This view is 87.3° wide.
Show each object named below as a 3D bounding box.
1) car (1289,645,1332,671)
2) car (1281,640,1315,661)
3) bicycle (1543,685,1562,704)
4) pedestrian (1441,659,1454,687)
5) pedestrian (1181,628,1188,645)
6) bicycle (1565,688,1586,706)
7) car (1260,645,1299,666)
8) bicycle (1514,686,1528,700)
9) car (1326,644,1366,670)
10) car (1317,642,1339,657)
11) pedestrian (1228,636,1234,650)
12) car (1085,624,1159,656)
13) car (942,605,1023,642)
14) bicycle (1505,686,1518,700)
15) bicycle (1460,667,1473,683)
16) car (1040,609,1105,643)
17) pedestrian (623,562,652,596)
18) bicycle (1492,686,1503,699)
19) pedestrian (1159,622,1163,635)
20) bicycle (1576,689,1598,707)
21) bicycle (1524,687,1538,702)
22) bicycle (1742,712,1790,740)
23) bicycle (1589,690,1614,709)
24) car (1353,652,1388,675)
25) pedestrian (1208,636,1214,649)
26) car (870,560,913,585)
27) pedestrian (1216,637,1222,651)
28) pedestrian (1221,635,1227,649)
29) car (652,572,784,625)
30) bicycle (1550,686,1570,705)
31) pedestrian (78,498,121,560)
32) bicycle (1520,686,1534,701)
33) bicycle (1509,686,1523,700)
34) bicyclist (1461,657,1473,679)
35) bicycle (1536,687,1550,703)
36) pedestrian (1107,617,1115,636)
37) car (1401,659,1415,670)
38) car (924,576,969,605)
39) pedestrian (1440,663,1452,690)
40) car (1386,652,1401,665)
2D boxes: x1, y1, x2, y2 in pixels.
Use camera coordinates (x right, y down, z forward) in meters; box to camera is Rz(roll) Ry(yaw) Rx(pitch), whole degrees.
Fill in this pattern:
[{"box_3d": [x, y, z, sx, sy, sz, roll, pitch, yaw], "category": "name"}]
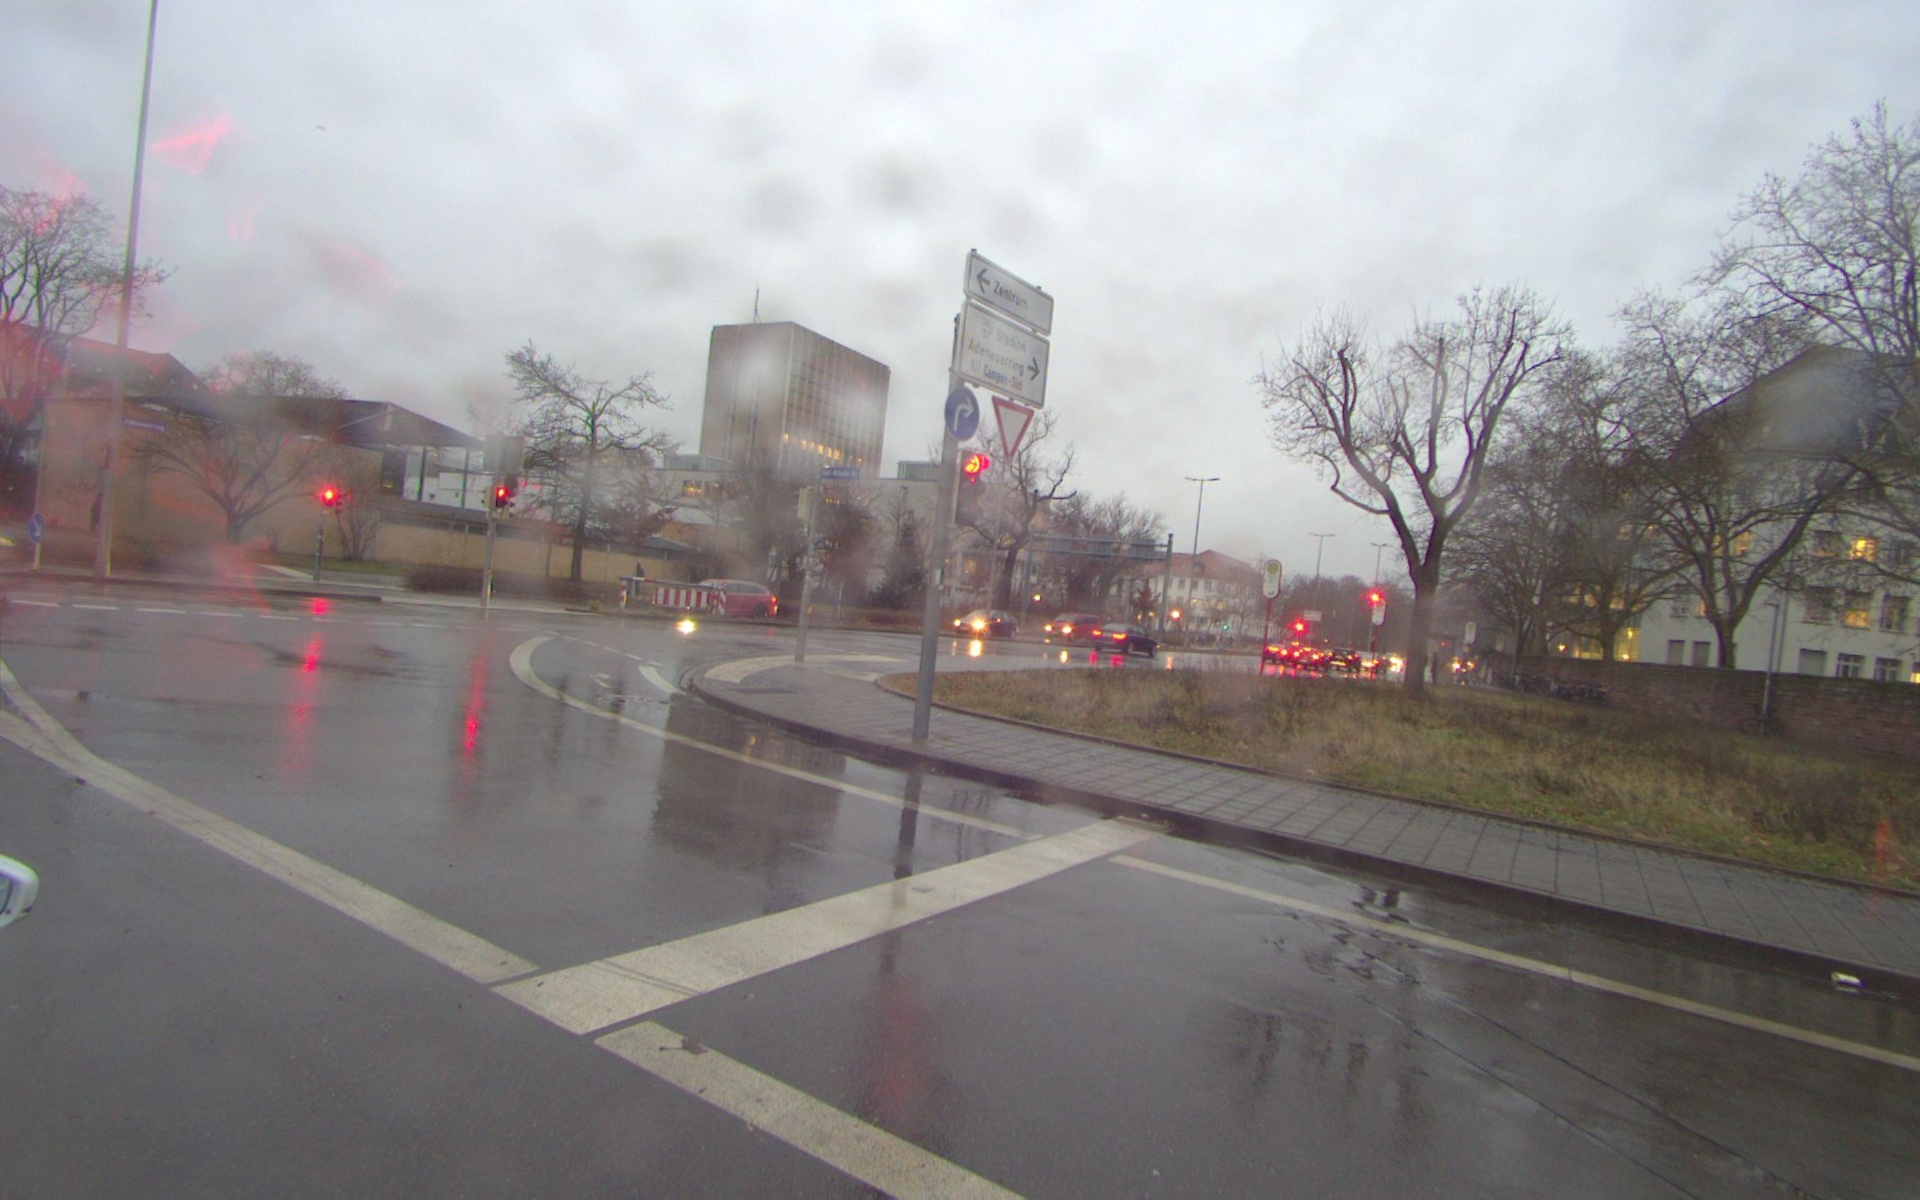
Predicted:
[{"box_3d": [24.625, 4.102, 70.532, 1.811, 1.602, 4.126, 6, 0, 33], "category": "car"}, {"box_3d": [29.655, 4.414, 88.148, 1.811, 1.602, 4.127, 6, 0, 31], "category": "car"}, {"box_3d": [31.841, 5.077, 54.085, 0.387, 0.927, 1.532, 7, -2, 15], "category": "bicycle"}, {"box_3d": [37.165, 5.572, 76.713, 0.557, 2.040, 0.595, 8, 2, 33], "category": "pedestrian"}, {"box_3d": [22.671, 3.685, 101.637, 0.411, 1.725, 0.430, 8, 3, 44], "category": "pedestrian"}, {"box_3d": [31.038, 4.878, 50.742, 0.343, 0.848, 1.493, 7, -2, 13], "category": "bicycle"}, {"box_3d": [23.367, 4.060, 73.509, 1.674, 1.318, 3.755, 6, 0, 34], "category": "car"}, {"box_3d": [33.829, 5.617, 60.661, 0.387, 0.795, 1.532, 7, -2, 20], "category": "bicycle"}, {"box_3d": [29.703, 4.425, 77.384, 1.812, 1.710, 4.311, 6, -1, 34], "category": "car"}, {"box_3d": [49.041, 6.573, 134.002, 1.966, 1.783, 3.992, 7, 1, 29], "category": "car"}, {"box_3d": [33.618, 5.306, 124.690, 0.404, 1.713, 0.427, 7, 2, 28], "category": "pedestrian"}, {"box_3d": [8.279, 2.041, 51.133, 1.908, 1.318, 4.686, 6, 0, 33], "category": "car"}, {"box_3d": [1.185, 1.199, 50.677, 1.784, 1.496, 4.411, 6, 0, 36], "category": "car"}, {"box_3d": [34.850, 5.869, 63.624, 0.387, 0.795, 1.532, 7, -2, 20], "category": "bicycle"}, {"box_3d": [40.000, 5.895, 79.462, 0.599, 1.181, 1.682, 7, -2, 19], "category": "bicycle"}, {"box_3d": [7.707, 1.778, 68.483, 2.016, 1.903, 5.320, 6, 0, 35], "category": "car"}, {"box_3d": [-16.423, -1.067, 51.252, 0.781, 1.624, 0.962, 8, 2, 32], "category": "pedestrian"}, {"box_3d": [36.390, 6.250, 68.105, 0.387, 0.795, 1.532, 7, -2, 20], "category": "bicycle"}, {"box_3d": [21.315, 3.036, 106.703, 0.258, 1.364, 0.289, 8, 2, 31], "category": "pedestrian"}, {"box_3d": [30.548, 4.771, 48.998, 0.387, 0.795, 1.533, 7, -2, 14], "category": "bicycle"}, {"box_3d": [32.840, 5.407, 57.864, 0.387, 0.795, 1.532, 7, -2, 19], "category": "bicycle"}, {"box_3d": [28.202, 4.402, 35.223, 0.387, 0.834, 1.386, 7, -2, -4], "category": "bicycle"}, {"box_3d": [30.274, 4.675, 47.474, 0.352, 0.795, 1.415, 7, -2, 8], "category": "bicycle"}, {"box_3d": [34.286, 5.295, 84.014, 1.811, 1.710, 4.311, 6, 0, 32], "category": "car"}, {"box_3d": [31.930, 5.395, 127.848, 0.404, 1.713, 0.427, 7, 2, 28], "category": "pedestrian"}, {"box_3d": [-7.191, -2.921, 106.304, 2.014, 2.102, 4.892, 6, 0, 30], "category": "car"}, {"box_3d": [32.312, 5.491, 125.635, 0.404, 1.713, 0.427, 7, 2, 28], "category": "pedestrian"}, {"box_3d": [32.969, 5.255, 125.665, 0.404, 1.713, 0.561, 7, 2, 28], "category": "pedestrian"}, {"box_3d": [-8.652, -0.030, 36.290, 1.784, 1.496, 4.411, 6, 0, 37], "category": "car"}, {"box_3d": [31.356, 4.982, 52.554, 0.387, 0.868, 1.532, 7, -2, 15], "category": "bicycle"}, {"box_3d": [-31.853, -2.635, 37.239, 0.882, 2.141, 0.882, 8, 2, 35], "category": "pedestrian"}, {"box_3d": [33.323, 5.490, 59.143, 0.387, 0.795, 1.532, 7, -2, 20], "category": "bicycle"}, {"box_3d": [34.349, 5.744, 62.150, 0.387, 0.795, 1.532, 7, -2, 20], "category": "bicycle"}, {"box_3d": [40.072, 5.367, 79.476, 0.599, 1.660, 0.453, 7, -1, 19], "category": "bicyclist"}, {"box_3d": [32.412, 5.293, 55.951, 0.387, 0.795, 1.607, 7, -2, 22], "category": "bicycle"}, {"box_3d": [14.544, 2.558, 96.860, 0.411, 1.725, 0.430, 8, 3, 44], "category": "pedestrian"}, {"box_3d": [80.259, 11.576, 180.149, 1.834, 1.783, 3.993, 7, 1, 27], "category": "car"}, {"box_3d": [-1.365, -0.988, 103.108, 2.014, 2.452, 5.326, 6, 0, 30], "category": "car"}, {"box_3d": [30.151, 4.736, 62.416, 0.462, 1.623, 0.486, 7, -1, 25], "category": "pedestrian"}, {"box_3d": [69.837, 9.388, 161.983, 1.834, 1.783, 3.993, 7, 1, 27], "category": "car"}]
